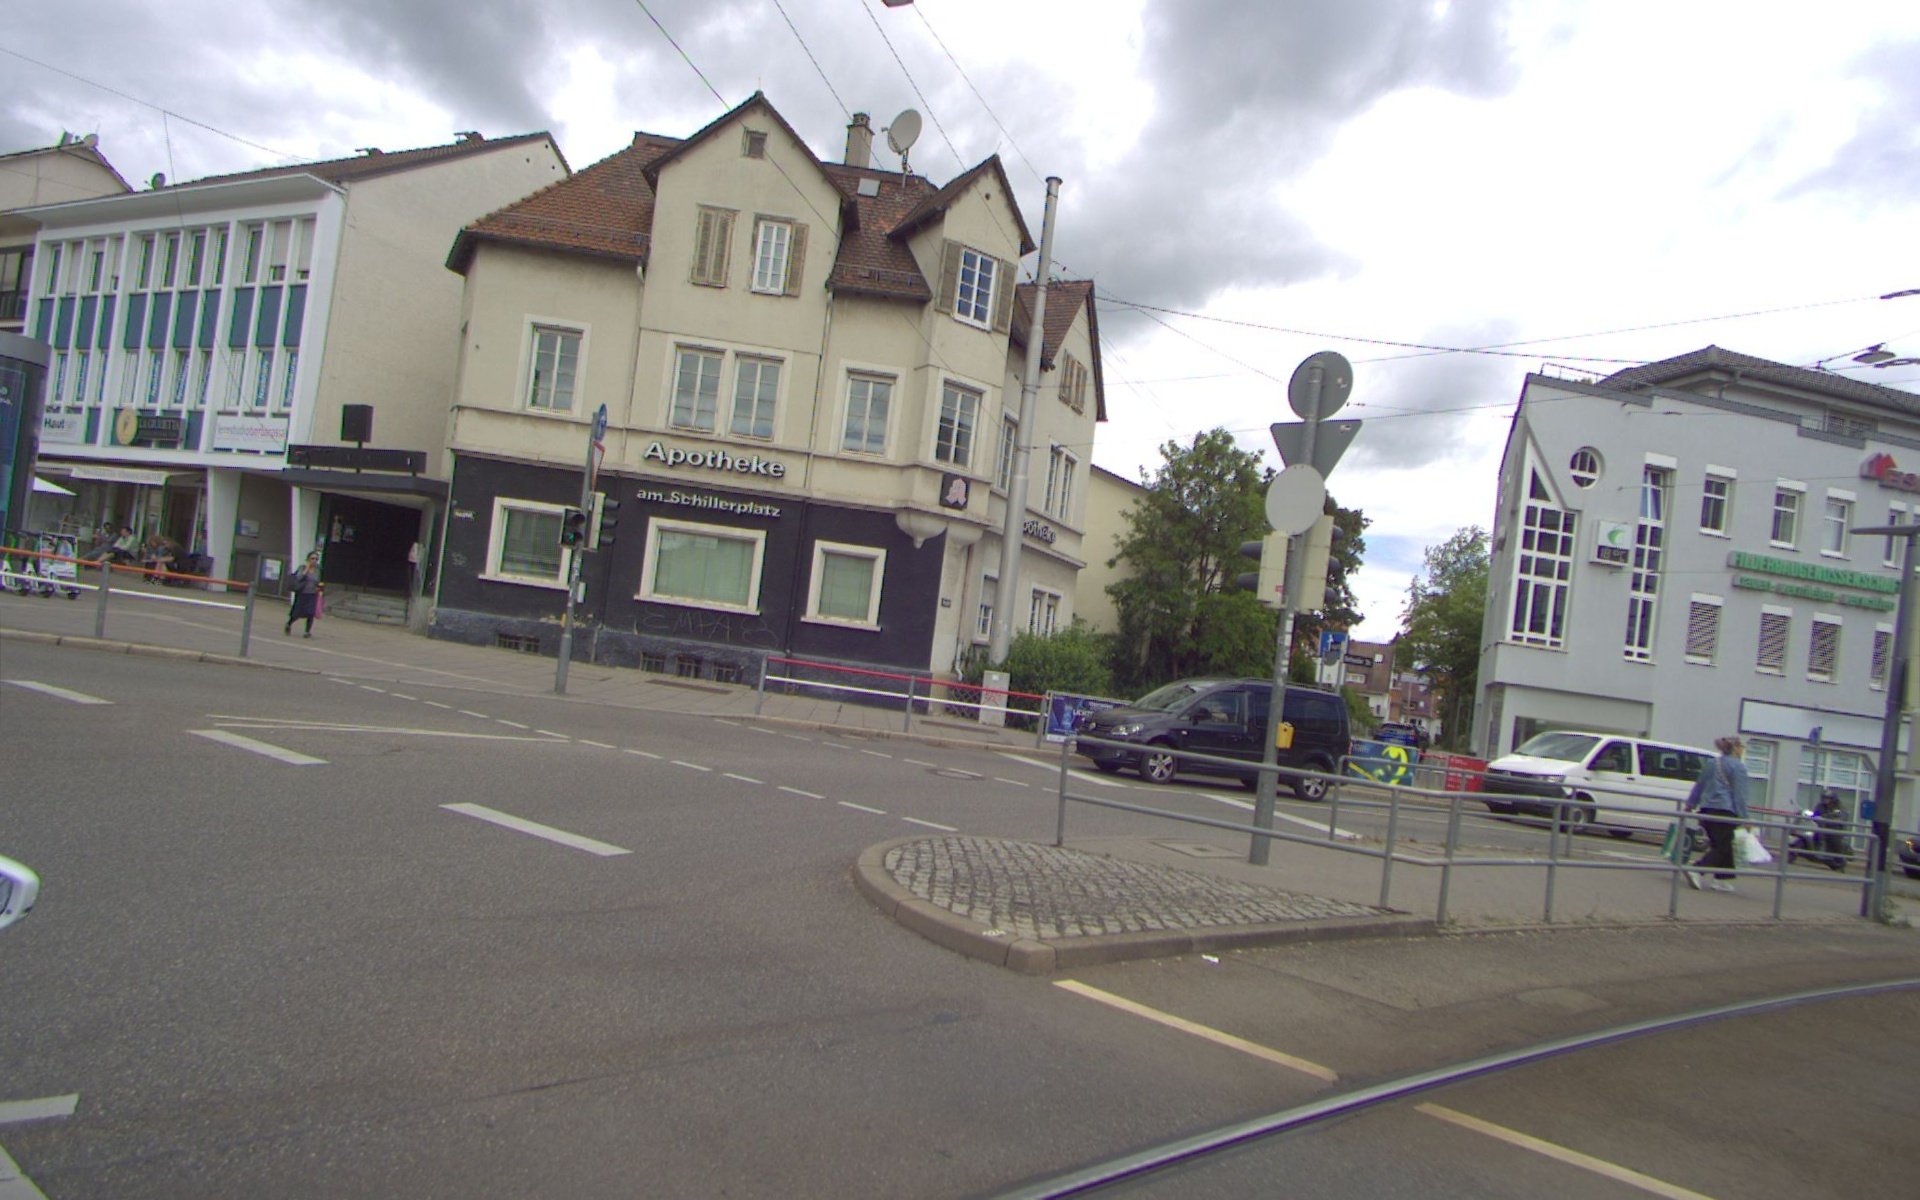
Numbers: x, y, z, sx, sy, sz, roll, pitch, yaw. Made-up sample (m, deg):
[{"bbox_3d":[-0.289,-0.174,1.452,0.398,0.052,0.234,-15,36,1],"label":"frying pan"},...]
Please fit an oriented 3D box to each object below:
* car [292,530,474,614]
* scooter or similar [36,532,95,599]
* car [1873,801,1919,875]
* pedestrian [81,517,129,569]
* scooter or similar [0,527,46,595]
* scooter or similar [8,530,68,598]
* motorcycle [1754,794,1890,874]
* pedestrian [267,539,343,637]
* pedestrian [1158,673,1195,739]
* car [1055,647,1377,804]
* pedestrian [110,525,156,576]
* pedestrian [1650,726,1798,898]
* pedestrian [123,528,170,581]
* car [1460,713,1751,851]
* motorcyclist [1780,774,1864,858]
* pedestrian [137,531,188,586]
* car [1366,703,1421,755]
[{"bbox_3d":[-16.027,-0.729,28.173,1.705,1.685,3.979,7,-3,28],"label":"car"},{"bbox_3d":[-17.421,-0.677,19.584,1.186,1.146,0.315,7,-1,26],"label":"scooter or similar"},{"bbox_3d":[23.413,5.722,22.615,4.713,1.461,1.877,10,-3,-13],"label":"car"},{"bbox_3d":[-22.981,-1.529,27.050,0.577,1.232,0.616,7,-4,22],"label":"pedestrian"},{"bbox_3d":[-17.741,-0.741,18.901,1.186,1.146,0.315,7,-1,26],"label":"scooter or similar"},{"bbox_3d":[-17.629,-0.693,19.229,1.186,1.146,0.315,7,-1,26],"label":"scooter or similar"},{"bbox_3d":[17.806,4.824,20.796,2.119,1.242,0.886,8,-1,-9],"label":"motorcycle"},{"bbox_3d":[-12.021,-0.205,18.490,0.732,1.638,0.588,9,-4,-7],"label":"pedestrian"},{"bbox_3d":[5.826,2.850,27.116,0.677,1.653,0.592,7,-1,23],"label":"pedestrian"},{"bbox_3d":[4.268,2.086,16.719,4.863,1.916,1.872,9,-3,-21],"label":"car"},{"bbox_3d":[-22.237,-1.334,27.061,0.577,1.234,0.615,7,-2,22],"label":"pedestrian"},{"bbox_3d":[8.339,2.295,11.000,0.797,1.666,0.883,8,-1,-26],"label":"pedestrian"},{"bbox_3d":[-20.620,-1.152,25.507,0.577,1.235,0.615,7,0,22],"label":"pedestrian"},{"bbox_3d":[12.578,3.535,19.648,4.852,1.916,1.876,9,-2,-15],"label":"car"},{"bbox_3d":[17.805,4.456,20.796,0.793,1.492,0.887,8,-1,-9],"label":"motorcyclist"},{"bbox_3d":[-20.049,-1.050,25.289,0.577,1.232,0.616,7,-4,22],"label":"pedestrian"},{"bbox_3d":[18.246,5.390,42.307,1.847,1.823,4.233,7,-3,25],"label":"car"}]
